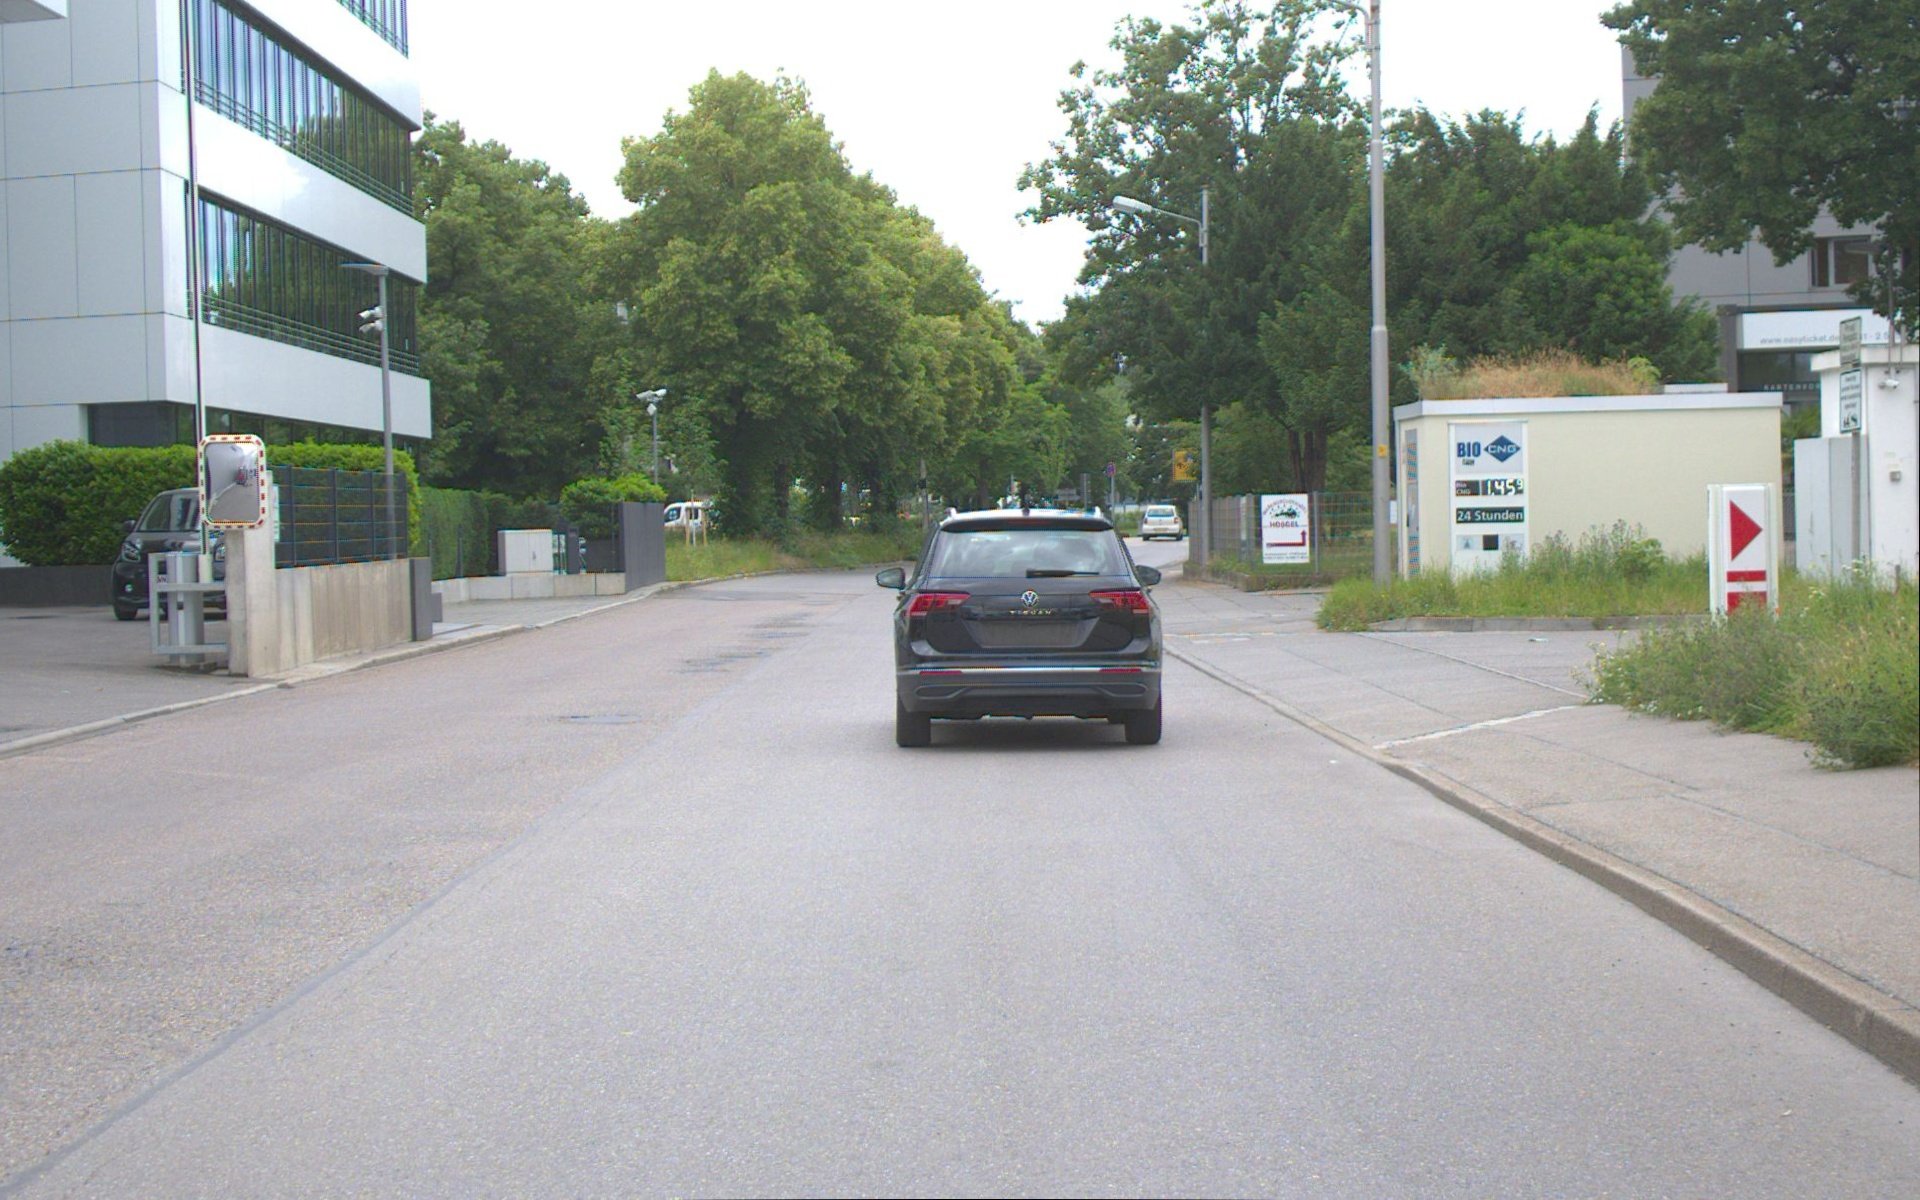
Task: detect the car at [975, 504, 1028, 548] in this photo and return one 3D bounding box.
[{"bbox_3d":[1.659,-2.954,137.347,1.808,1.758,4.205,0,1,5],"label":"car"}]

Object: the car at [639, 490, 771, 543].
[{"bbox_3d":[-12.365,-4.073,166.825,6.071,2.379,2.395,-1,2,3],"label":"car"}]

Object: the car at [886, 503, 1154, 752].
[{"bbox_3d":[0.464,0.161,24.245,1.739,1.612,3.641,0,1,2],"label":"car"}]

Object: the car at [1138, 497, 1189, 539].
[{"bbox_3d":[8.821,-3.562,148.698,1.994,1.780,3.999,0,1,7],"label":"car"}]

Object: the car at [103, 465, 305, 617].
[{"bbox_3d":[-9.014,-0.716,41.202,1.650,1.755,3.179,0,1,2],"label":"car"}]
